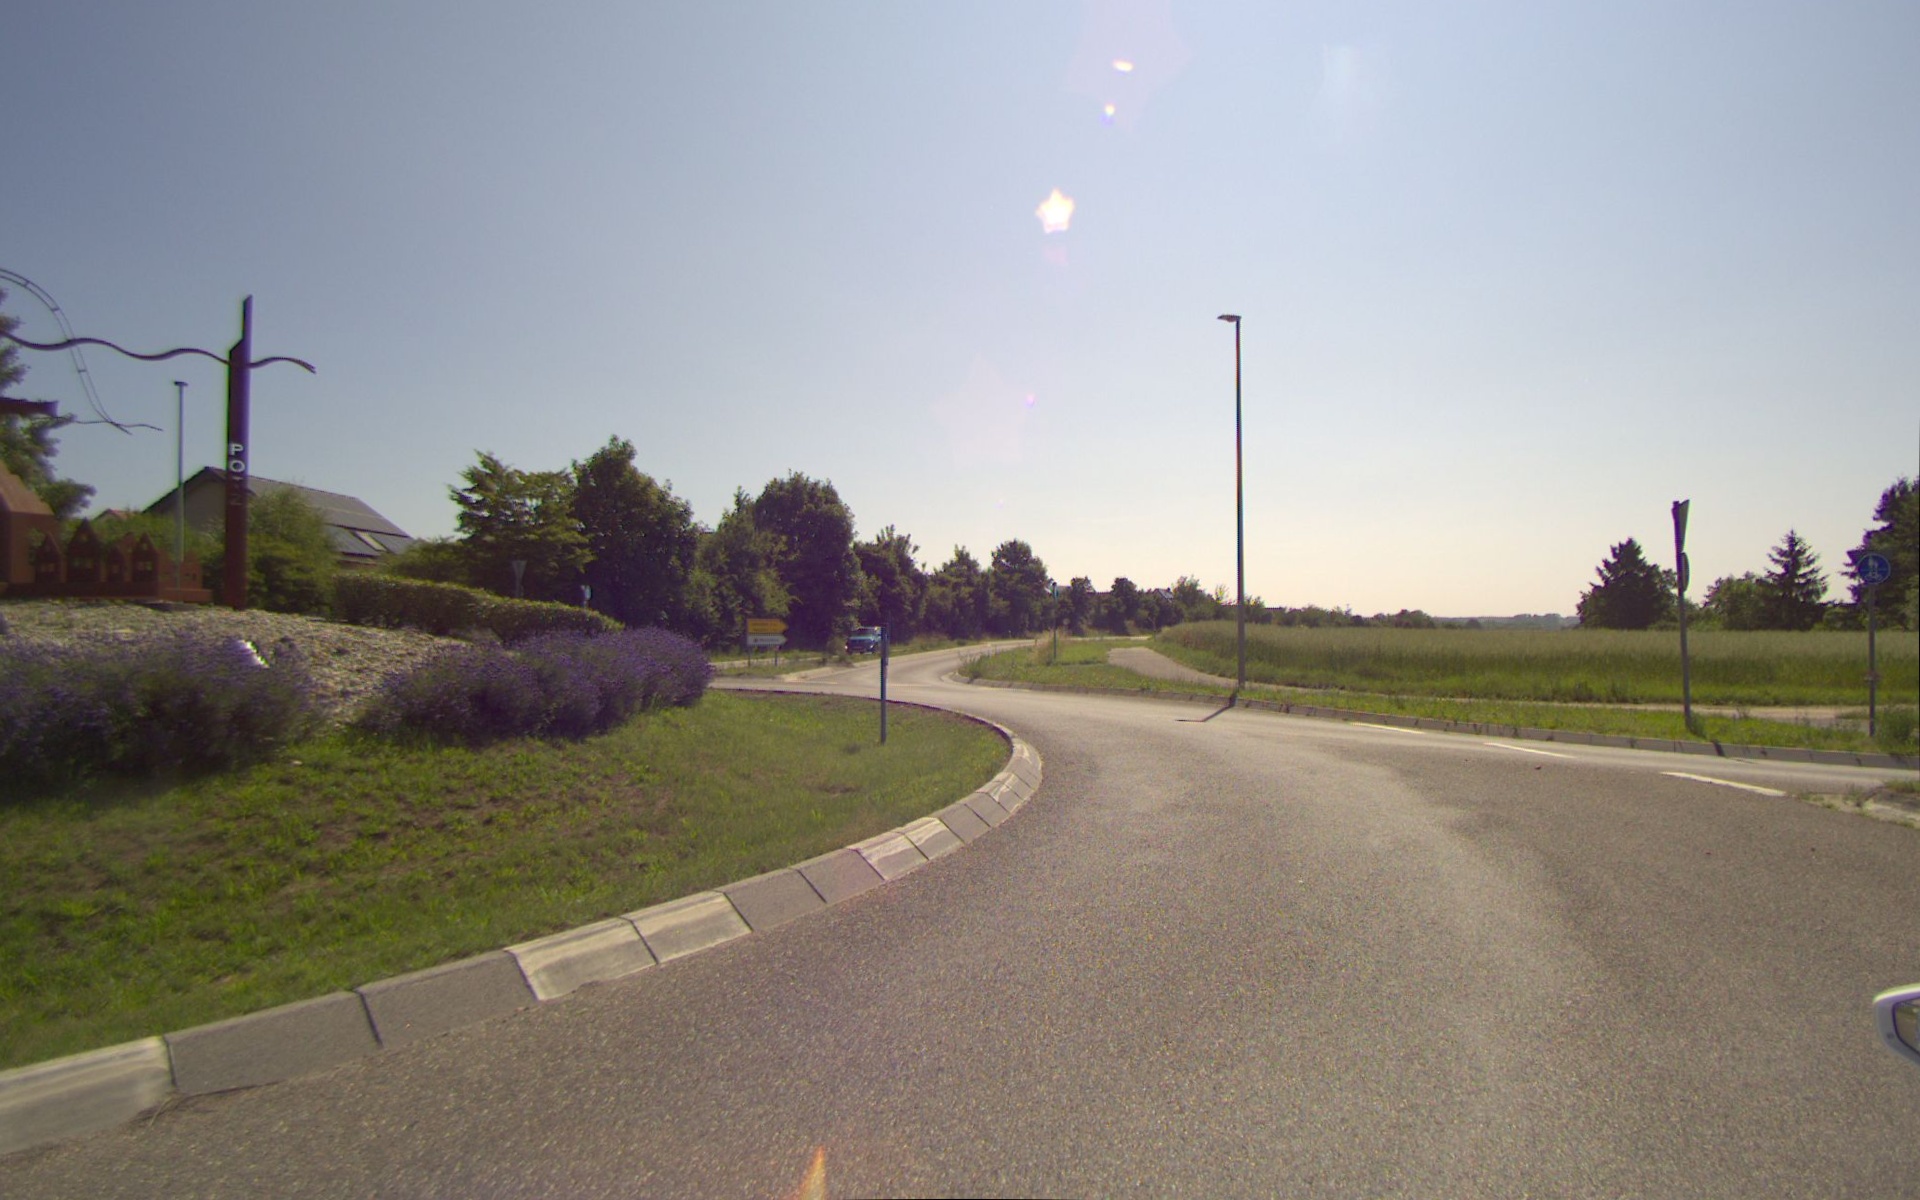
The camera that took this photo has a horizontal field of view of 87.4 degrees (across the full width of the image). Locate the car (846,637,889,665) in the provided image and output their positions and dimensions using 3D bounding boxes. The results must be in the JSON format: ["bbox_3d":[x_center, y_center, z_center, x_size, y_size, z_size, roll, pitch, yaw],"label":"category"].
[{"bbox_3d":[-5.437,2.987,59.377,1.616,1.597,4.003,1,-2,8],"label":"car"}]
